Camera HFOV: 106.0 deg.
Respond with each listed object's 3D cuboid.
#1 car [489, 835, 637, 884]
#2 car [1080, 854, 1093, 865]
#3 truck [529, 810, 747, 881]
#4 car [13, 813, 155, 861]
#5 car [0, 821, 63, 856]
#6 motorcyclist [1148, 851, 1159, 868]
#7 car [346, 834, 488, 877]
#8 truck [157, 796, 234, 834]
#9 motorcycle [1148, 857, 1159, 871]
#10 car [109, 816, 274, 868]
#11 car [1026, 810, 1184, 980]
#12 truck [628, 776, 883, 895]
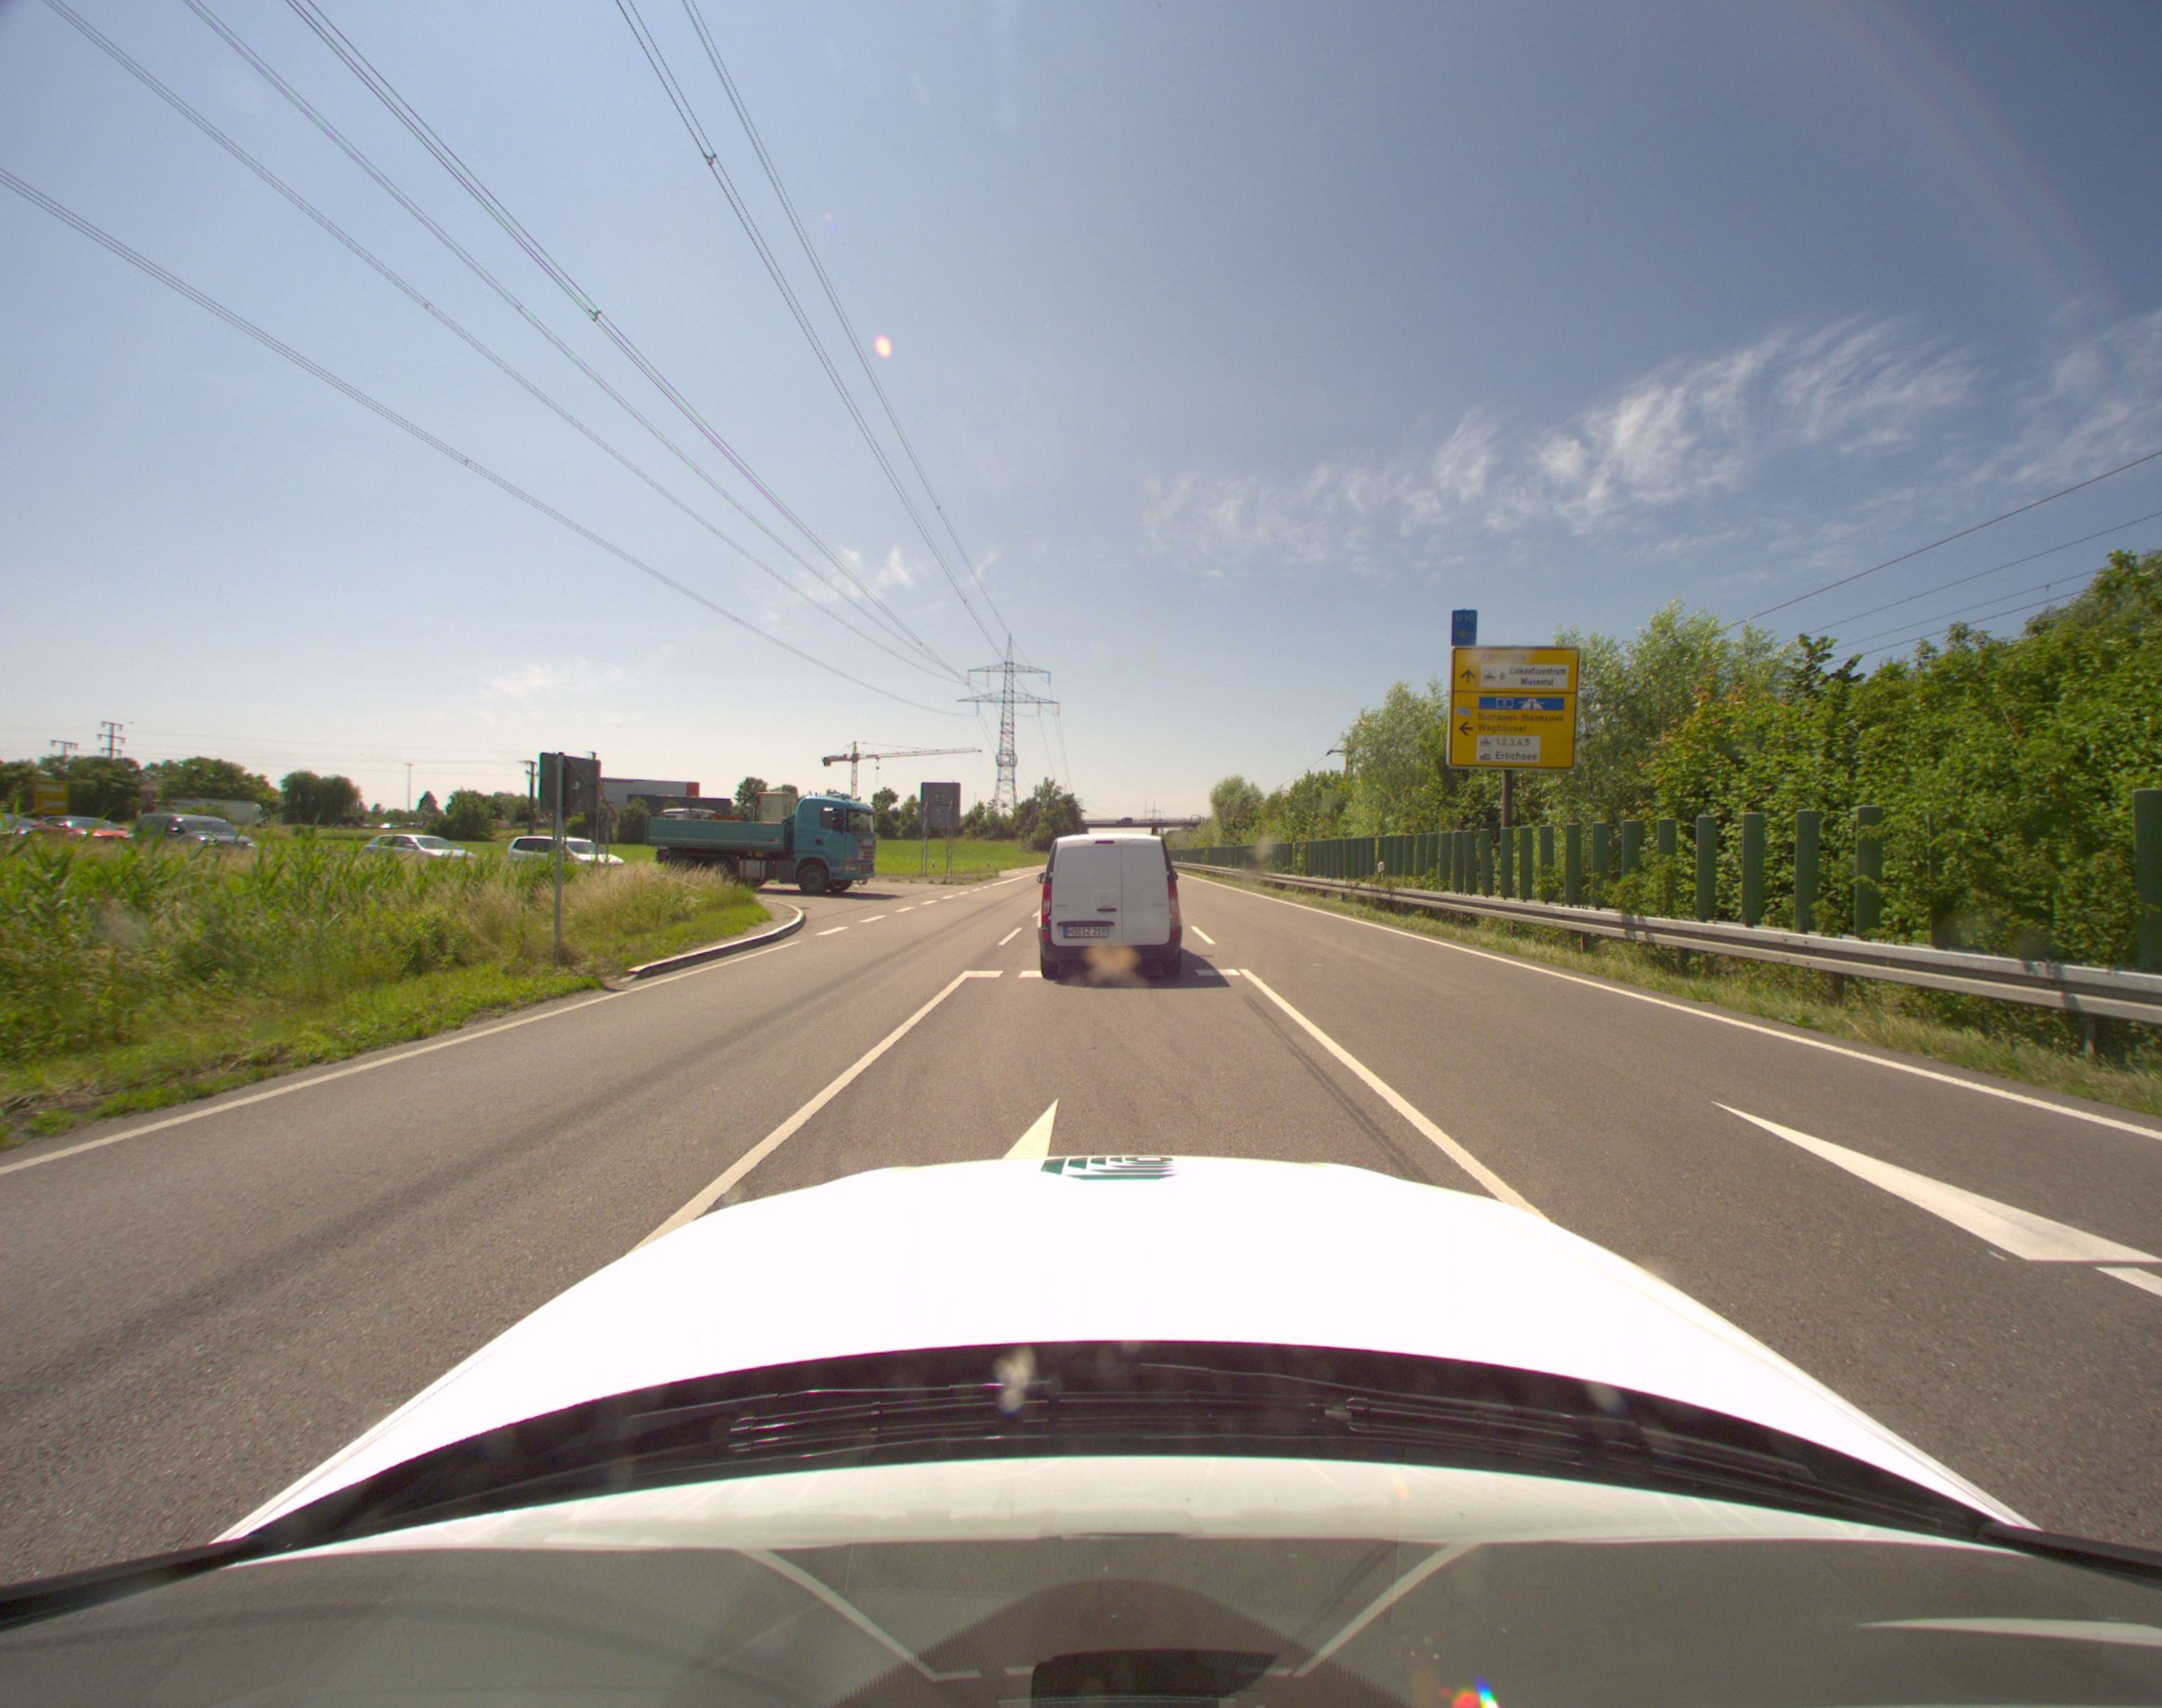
[{"bbox_3d":[-18.611,0.171,29.308,4.506,1.612,1.976,1,0,16],"label":"car"},{"bbox_3d":[0.817,0.769,115.546,1.775,1.464,4.002,0,0,2],"label":"car"},{"bbox_3d":[-21.543,-0.439,39.732,9.609,3.288,2.837,0,1,10],"label":"truck"},{"bbox_3d":[-41.754,-0.697,34.127,4.438,1.849,1.922,1,0,12],"label":"car"},{"bbox_3d":[-47.420,-0.693,35.761,3.960,1.478,1.788,2,0,12],"label":"car"},{"bbox_3d":[6.256,0.493,70.242,0.886,1.476,1.002,0,0,1],"label":"motorcyclist"},{"bbox_3d":[-24.701,0.049,30.334,4.401,1.470,1.724,1,0,12],"label":"car"},{"bbox_3d":[-119.309,-5.095,110.056,3.703,4.646,13.105,1,0,-32],"label":"truck"},{"bbox_3d":[6.268,0.822,70.204,0.787,1.157,1.901,0,0,1],"label":"motorcycle"},{"bbox_3d":[-35.298,-0.502,32.376,4.906,1.867,2.094,2,1,10],"label":"car"},{"bbox_3d":[0.342,0.481,11.499,1.820,1.971,4.002,-1,0,2],"label":"car"},{"bbox_3d":[-11.352,-0.631,28.773,7.869,3.734,2.501,2,0,4],"label":"truck"}]
